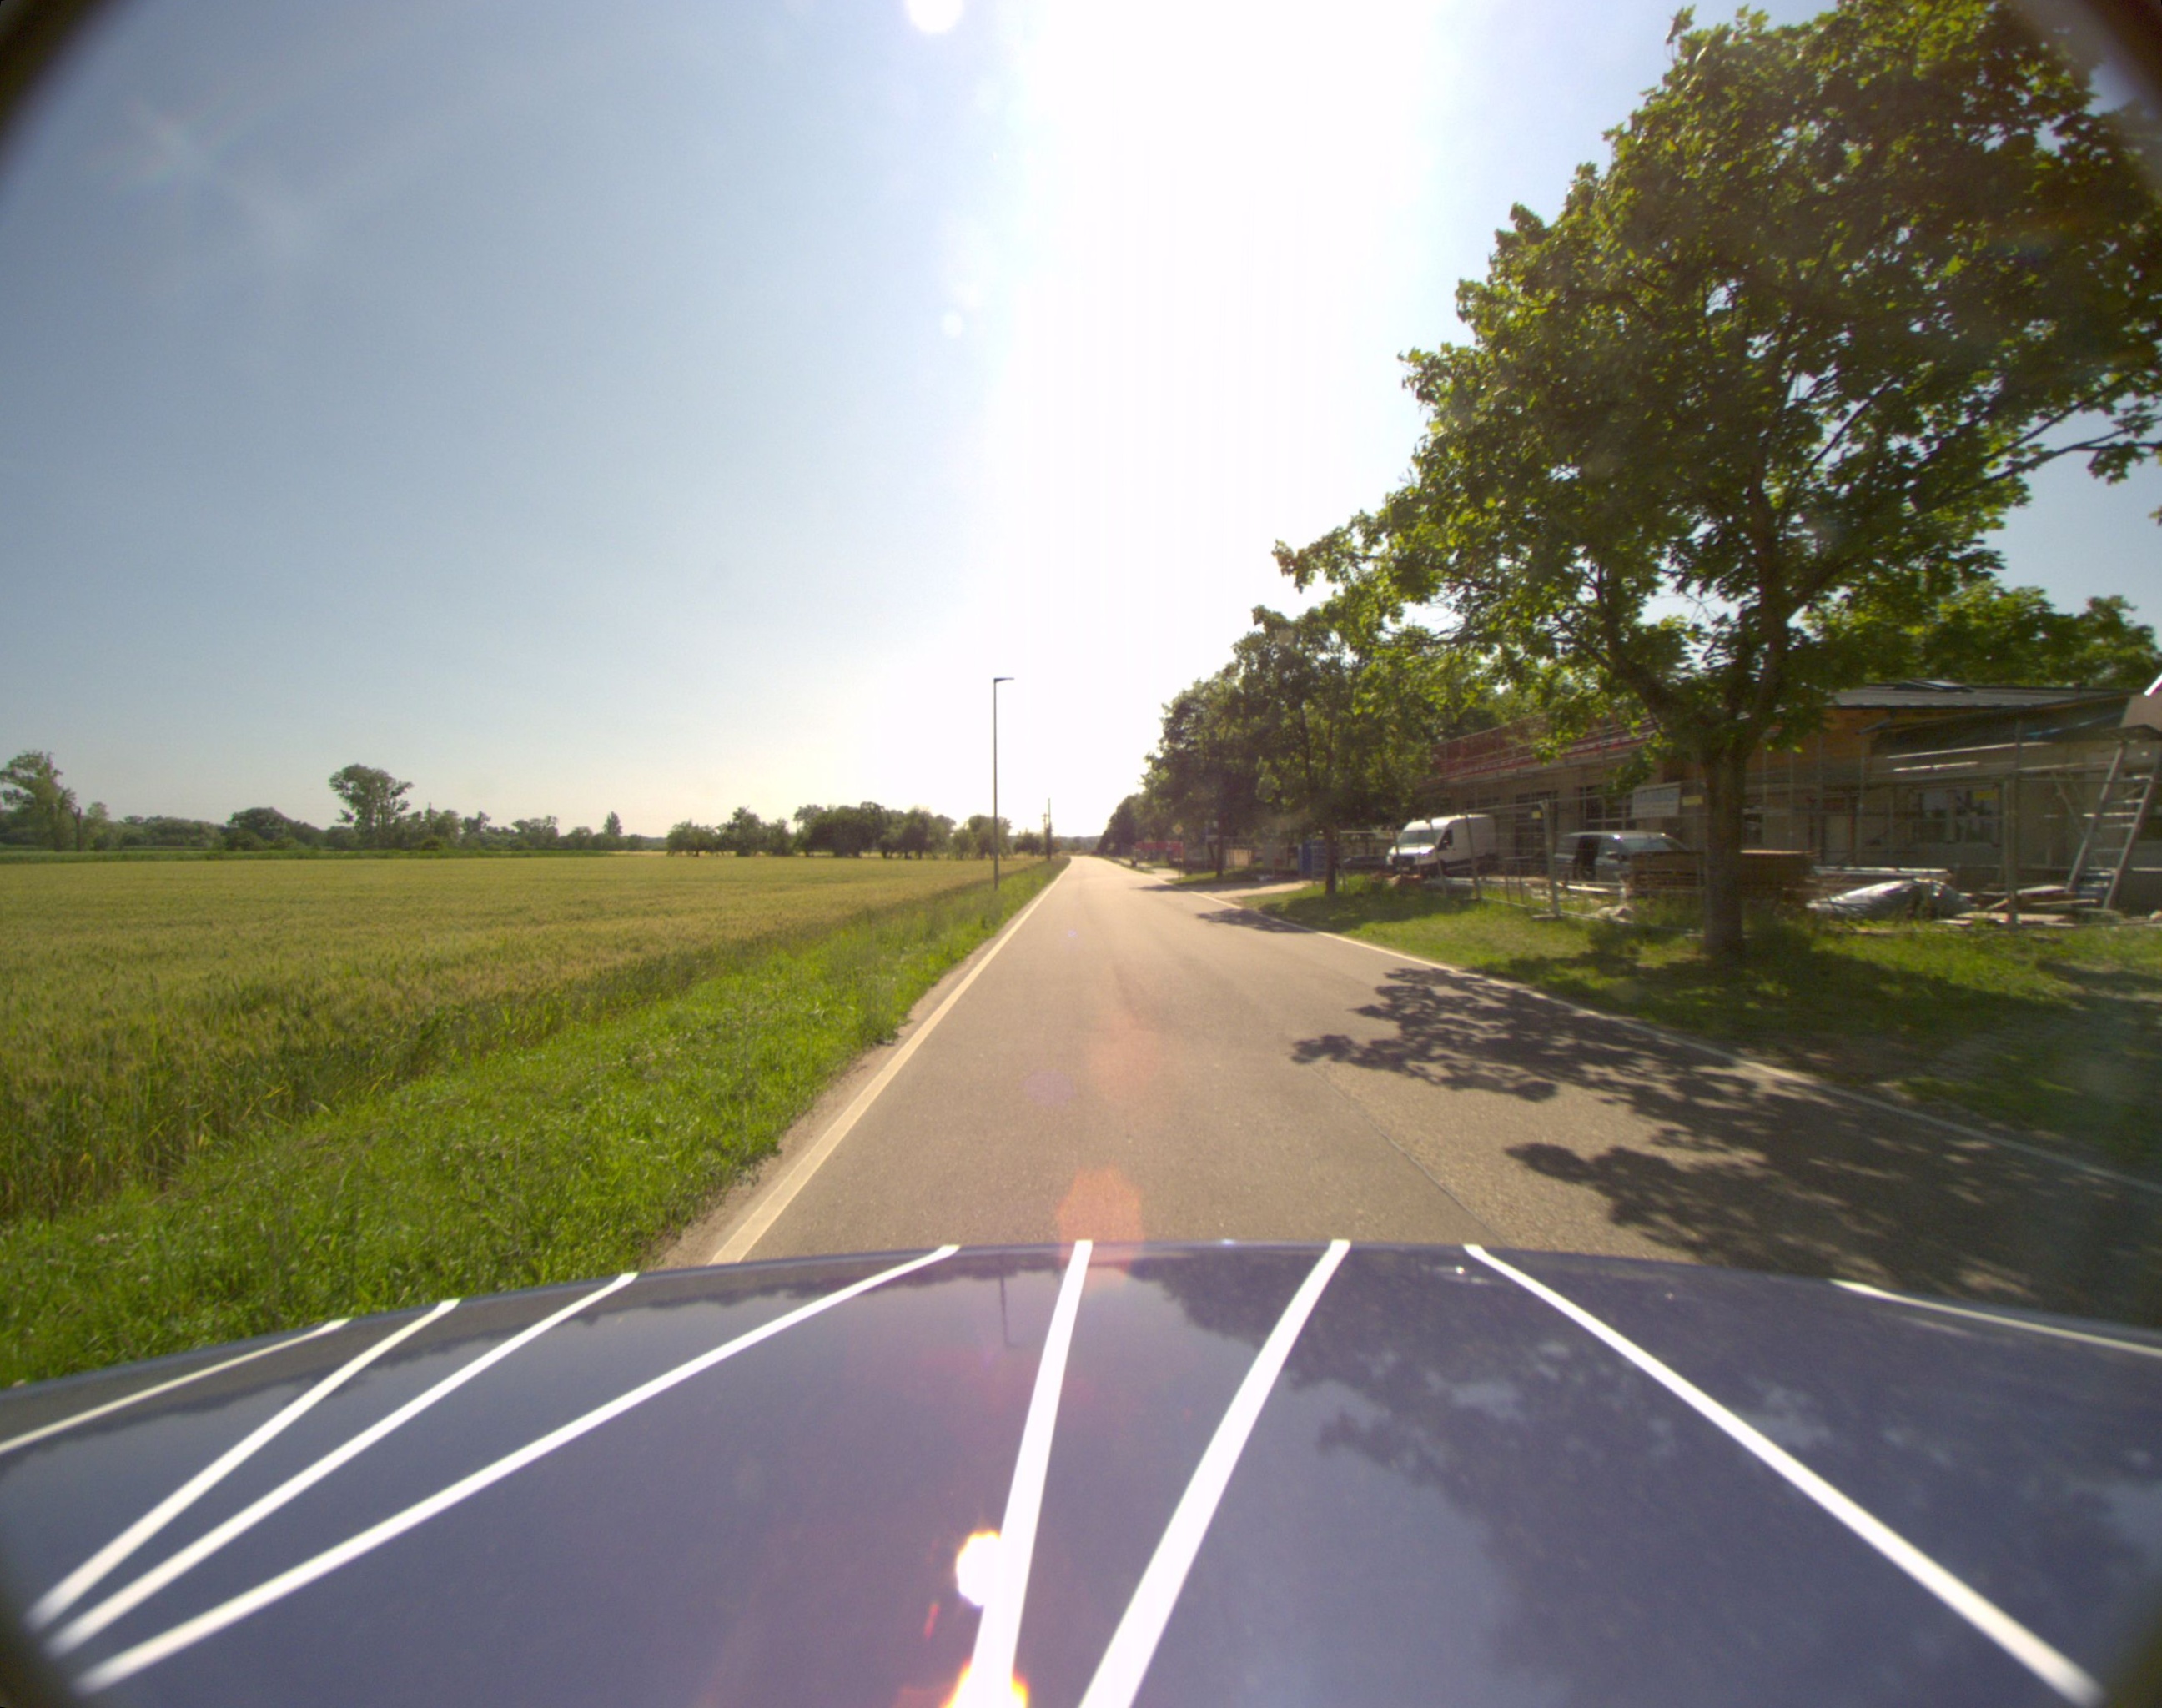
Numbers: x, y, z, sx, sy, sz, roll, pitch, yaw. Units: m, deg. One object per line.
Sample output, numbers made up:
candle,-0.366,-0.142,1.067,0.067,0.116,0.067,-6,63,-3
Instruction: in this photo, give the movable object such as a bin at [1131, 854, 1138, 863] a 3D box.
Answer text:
movable object such as a bin,5.084,0.408,71.997,0.563,0.872,0.614,0,1,8

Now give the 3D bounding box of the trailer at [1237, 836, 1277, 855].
trailer,20.546,-0.972,88.710,4.239,2.264,1.826,0,1,-13

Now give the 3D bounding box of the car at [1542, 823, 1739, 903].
car,14.439,0.183,19.980,1.975,1.827,4.327,-1,1,0

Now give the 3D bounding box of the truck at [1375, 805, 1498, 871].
truck,14.680,-0.680,31.188,5.942,2.469,1.994,-2,2,-36

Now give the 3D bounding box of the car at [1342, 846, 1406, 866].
car,20.425,0.130,53.044,3.812,1.391,1.758,0,1,-7

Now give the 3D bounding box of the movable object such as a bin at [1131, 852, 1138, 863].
movable object such as a bin,5.121,0.320,72.690,0.700,1.018,0.748,0,1,8
